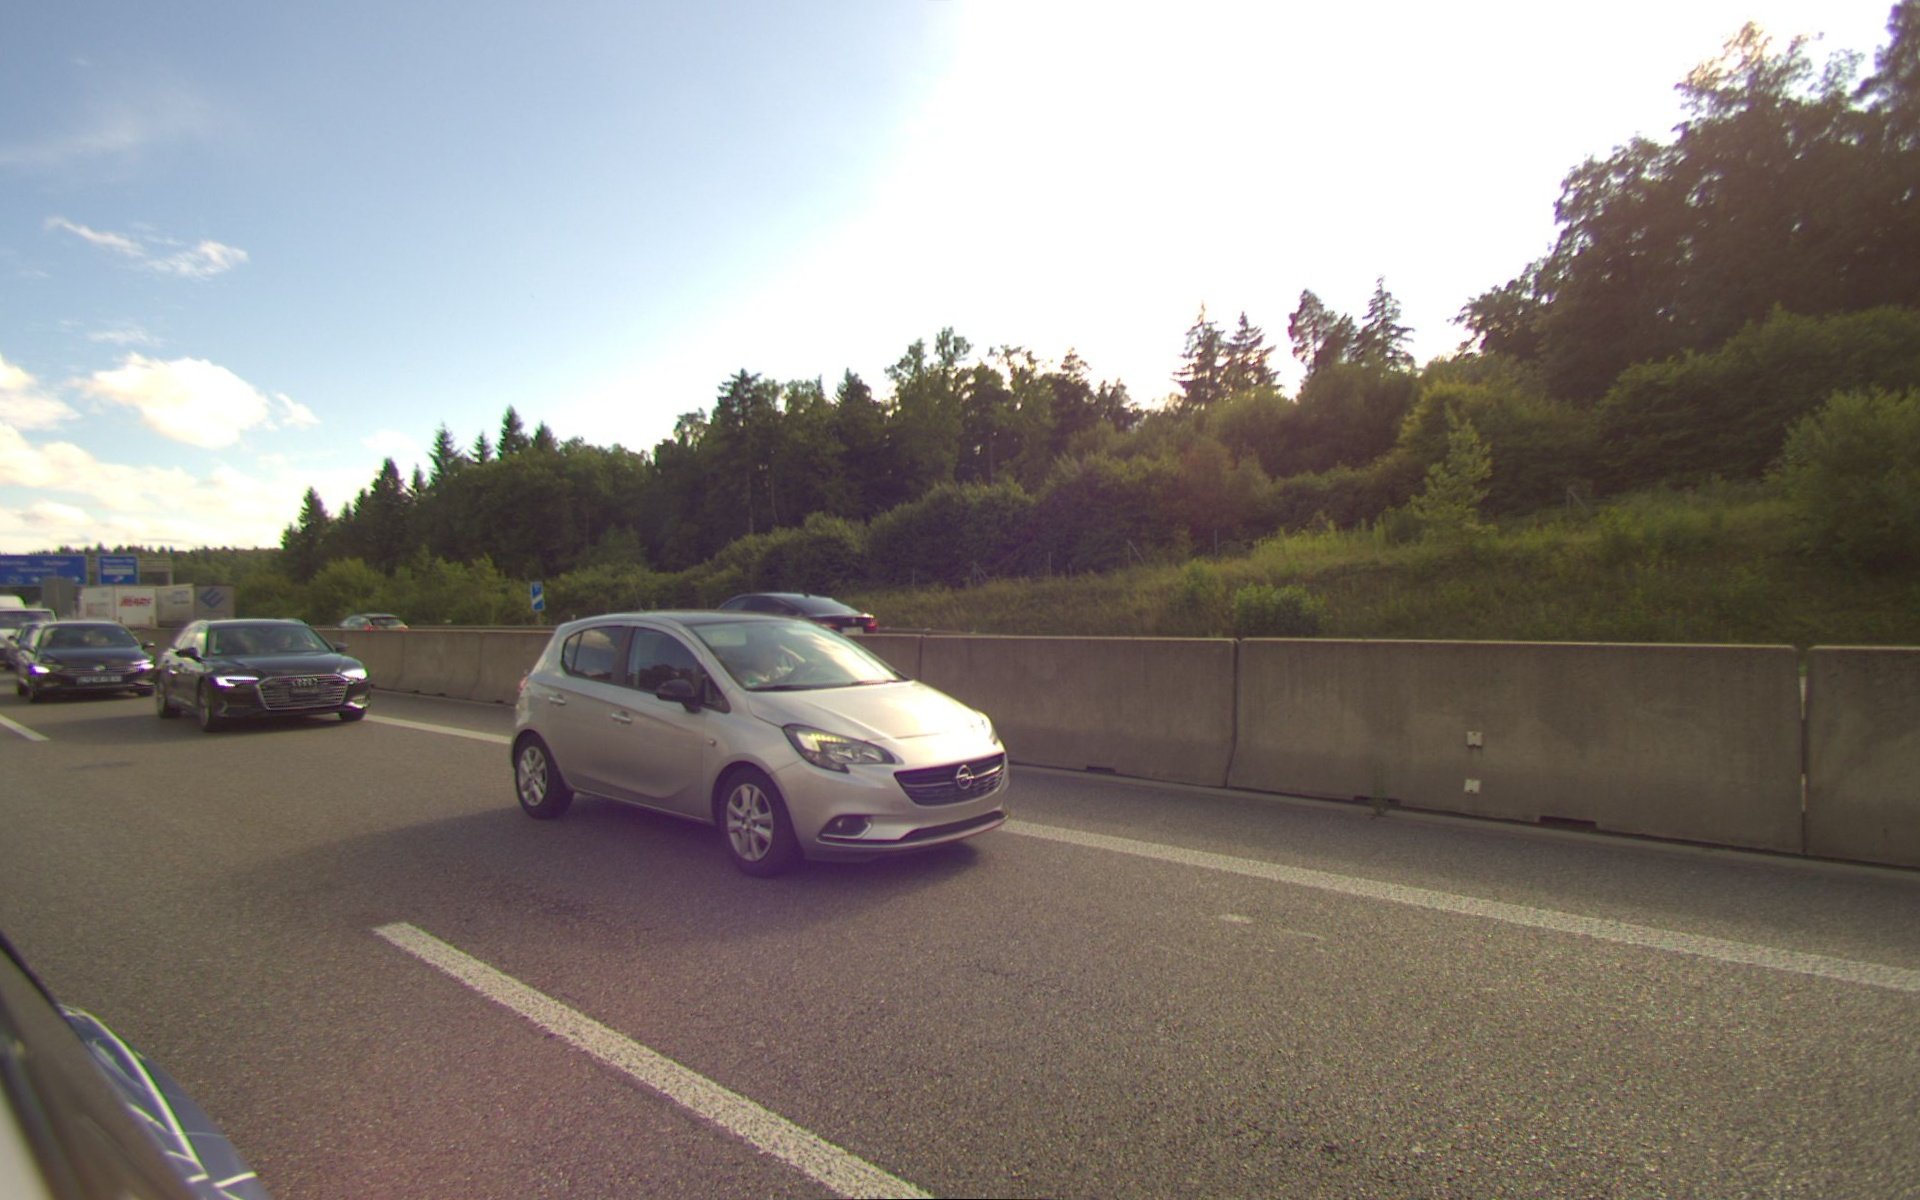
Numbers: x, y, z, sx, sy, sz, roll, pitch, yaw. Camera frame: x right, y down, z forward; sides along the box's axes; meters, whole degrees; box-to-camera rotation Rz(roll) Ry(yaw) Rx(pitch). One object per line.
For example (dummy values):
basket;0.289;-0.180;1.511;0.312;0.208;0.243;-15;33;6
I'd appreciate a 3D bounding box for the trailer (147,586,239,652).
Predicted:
trailer;-61.076;1.465;80.352;14.647;4.866;2.896;-1;0;41

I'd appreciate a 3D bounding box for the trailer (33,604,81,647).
trailer;-116.750;3.186;130.732;13.828;5.320;3.010;-1;0;41

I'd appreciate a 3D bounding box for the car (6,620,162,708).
car;-17.070;1.159;19.646;4.569;1.488;1.890;-2;-1;44

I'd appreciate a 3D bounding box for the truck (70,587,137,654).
truck;-68.747;1.606;81.140;7.138;5.139;3.056;-1;0;41

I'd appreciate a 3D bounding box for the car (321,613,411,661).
car;-24.562;1.502;41.783;4.622;1.823;1.833;-1;-1;41

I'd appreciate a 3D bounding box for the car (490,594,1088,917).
car;-1.333;0.765;6.641;4.039;1.477;1.728;-2;-2;41

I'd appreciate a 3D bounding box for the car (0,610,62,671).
car;-32.762;1.384;35.065;4.846;1.980;1.922;-1;-1;42

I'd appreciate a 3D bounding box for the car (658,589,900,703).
car;-3.394;0.773;18.403;4.622;1.823;1.833;-1;-1;41

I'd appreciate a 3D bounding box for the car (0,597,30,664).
car;-39.039;1.217;40.557;5.859;2.591;2.027;-1;-2;42

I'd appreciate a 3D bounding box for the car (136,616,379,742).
car;-10.262;1.018;14.617;4.851;1.483;1.862;-1;-1;43

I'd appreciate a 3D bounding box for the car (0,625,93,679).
car;-27.447;1.504;30.290;3.993;1.442;1.785;-1;-1;42

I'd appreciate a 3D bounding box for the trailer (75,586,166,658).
trailer;-64.097;1.606;77.089;13.827;5.112;3.056;-1;0;41
